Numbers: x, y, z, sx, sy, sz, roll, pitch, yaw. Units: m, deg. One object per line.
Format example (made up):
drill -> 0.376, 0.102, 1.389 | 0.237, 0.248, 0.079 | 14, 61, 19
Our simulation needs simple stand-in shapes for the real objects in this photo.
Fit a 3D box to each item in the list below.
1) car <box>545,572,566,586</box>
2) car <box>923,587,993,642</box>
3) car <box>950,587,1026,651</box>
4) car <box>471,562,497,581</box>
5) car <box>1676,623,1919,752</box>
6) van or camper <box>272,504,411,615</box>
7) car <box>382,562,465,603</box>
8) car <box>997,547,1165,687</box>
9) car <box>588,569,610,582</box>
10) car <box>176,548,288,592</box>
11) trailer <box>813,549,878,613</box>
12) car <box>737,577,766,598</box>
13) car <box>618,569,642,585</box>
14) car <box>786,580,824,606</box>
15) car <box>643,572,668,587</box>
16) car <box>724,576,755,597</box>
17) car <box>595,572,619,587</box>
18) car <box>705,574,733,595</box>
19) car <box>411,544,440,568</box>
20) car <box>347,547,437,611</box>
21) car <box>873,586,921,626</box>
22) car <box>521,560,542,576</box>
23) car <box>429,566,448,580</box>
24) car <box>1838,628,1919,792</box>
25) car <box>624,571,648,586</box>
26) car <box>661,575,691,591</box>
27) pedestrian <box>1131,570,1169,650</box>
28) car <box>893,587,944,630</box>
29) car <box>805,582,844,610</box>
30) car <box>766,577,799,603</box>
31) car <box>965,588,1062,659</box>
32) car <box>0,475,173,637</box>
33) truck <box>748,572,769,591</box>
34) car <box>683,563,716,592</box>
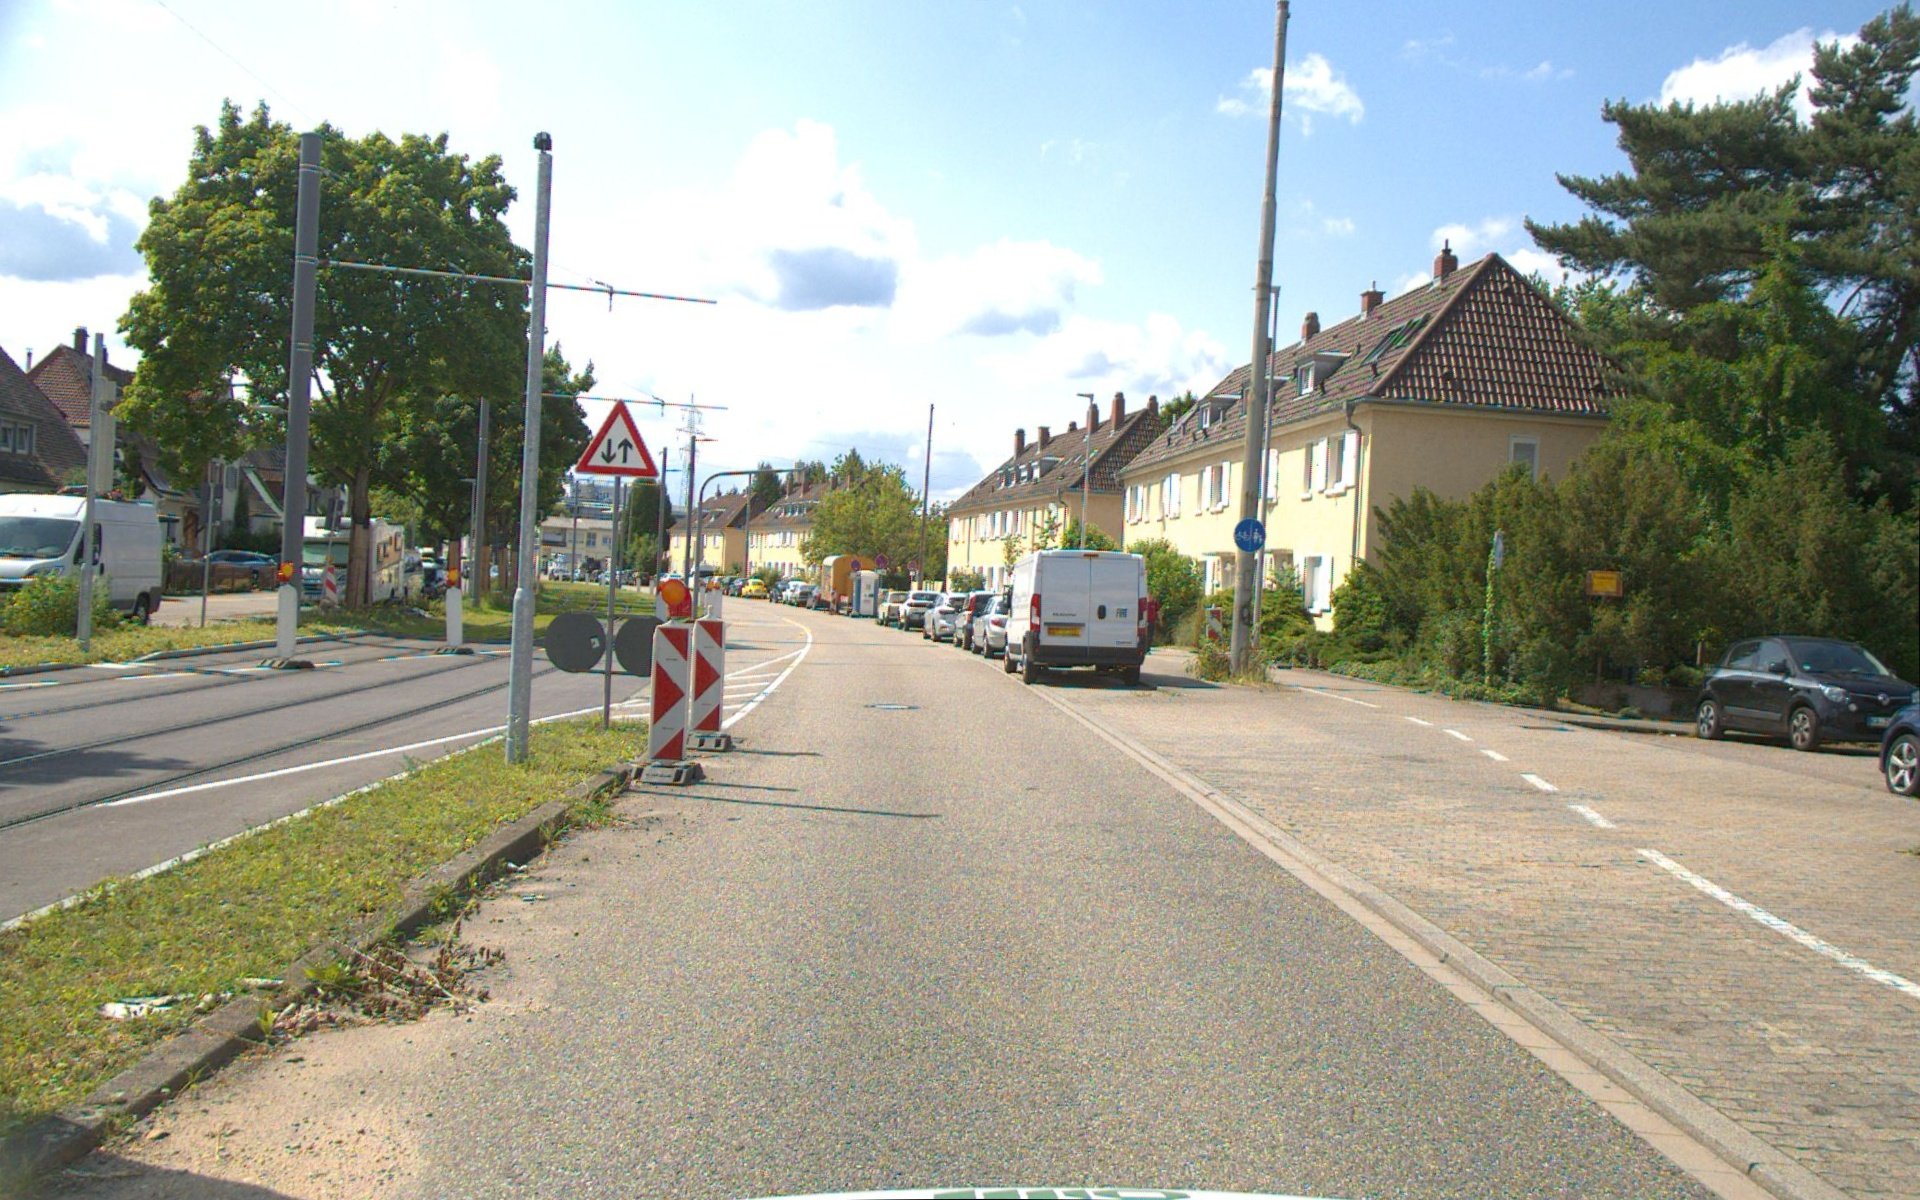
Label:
car -> -45.633, -2.362, 186.572 | 1.701, 1.413, 4.092 | 3, 0, -23
car -> -0.097, 0.404, 50.381 | 1.716, 1.524, 4.381 | 2, 0, -5
car -> 0.713, 0.471, 44.506 | 1.596, 1.577, 3.805 | 2, 0, -5
car -> -43.301, -2.577, 150.381 | 1.786, 1.614, 4.536 | 1, 1, -23
car -> 11.944, 1.176, 23.483 | 1.596, 1.574, 3.805 | 3, 0, -5
van or camper -> -18.648, -1.173, 50.294 | 2.331, 3.022, 7.283 | 2, 0, -8
car -> -20.413, -0.670, 63.165 | 1.816, 1.411, 4.805 | 3, 0, -4
car -> 2.067, 0.247, 30.298 | 2.231, 2.220, 6.364 | 2, 0, -3
car -> -42.692, -2.890, 195.419 | 1.740, 1.528, 3.971 | 1, 1, -24
car -> -30.443, -1.261, 69.241 | 3.919, 1.556, 1.867 | 4, 0, -14
trailer -> -6.264, -1.042, 89.797 | 2.644, 3.282, 5.066 | 3, 0, -13
car -> -16.068, -1.003, 127.450 | 1.610, 1.508, 3.913 | 0, 2, -17
car -> -36.034, -2.536, 180.649 | 1.740, 1.671, 3.971 | 1, 1, -24
car -> -9.901, -0.466, 105.708 | 1.678, 1.474, 4.818 | 3, 0, -14
car -> -30.894, -2.087, 167.687 | 1.599, 1.441, 3.971 | 1, 1, -24
car -> -17.682, -1.068, 132.343 | 1.612, 1.508, 4.102 | 3, 1, -19
car -> -34.523, -2.024, 161.674 | 1.642, 1.474, 3.932 | 0, 1, -23
car -> -20.599, -1.317, 141.330 | 1.612, 1.630, 4.007 | 3, 1, -19
car -> -62.521, -5.187, 193.505 | 2.050, 2.768, 6.939 | 1, 1, -28
car -> -19.829, -0.736, 57.929 | 1.956, 2.048, 4.896 | 3, 0, -8
car -> -2.634, 0.231, 68.387 | 1.436, 1.528, 4.100 | 2, 0, -10
car -> -53.600, -4.015, 206.756 | 1.928, 2.000, 5.259 | 2, 1, -21
car -> -58.853, -3.042, 186.603 | 1.705, 1.531, 4.536 | 1, 1, -23
car -> 9.436, 1.101, 14.089 | 1.606, 1.404, 4.289 | 3, 2, 1
car -> -34.474, -2.291, 175.947 | 1.740, 1.441, 3.971 | 1, 1, -24
car -> -28.020, -1.661, 163.115 | 1.775, 1.483, 4.729 | 1, 1, -24
pedestrian -> 4.963, 0.255, 43.210 | 0.758, 2.048, 0.761 | 3, 0, -6
car -> -1.573, 0.312, 62.136 | 1.499, 1.507, 3.803 | 2, 0, -7
car -> -8.058, -0.246, 98.070 | 1.551, 1.474, 4.437 | 3, 0, -14
car -> -12.432, -0.736, 115.584 | 1.524, 1.669, 4.227 | 3, 0, -17
car -> 1.224, 0.524, 39.607 | 1.675, 1.530, 4.249 | 2, 0, -7
car -> -16.650, -0.797, 30.559 | 2.111, 2.715, 4.911 | 3, 0, -5
truck -> -18.364, -1.688, 150.443 | 1.326, 1.718, 2.427 | 2, 0, -20
car -> -23.807, -2.102, 150.973 | 1.901, 2.524, 5.485 | 2, 1, -20
